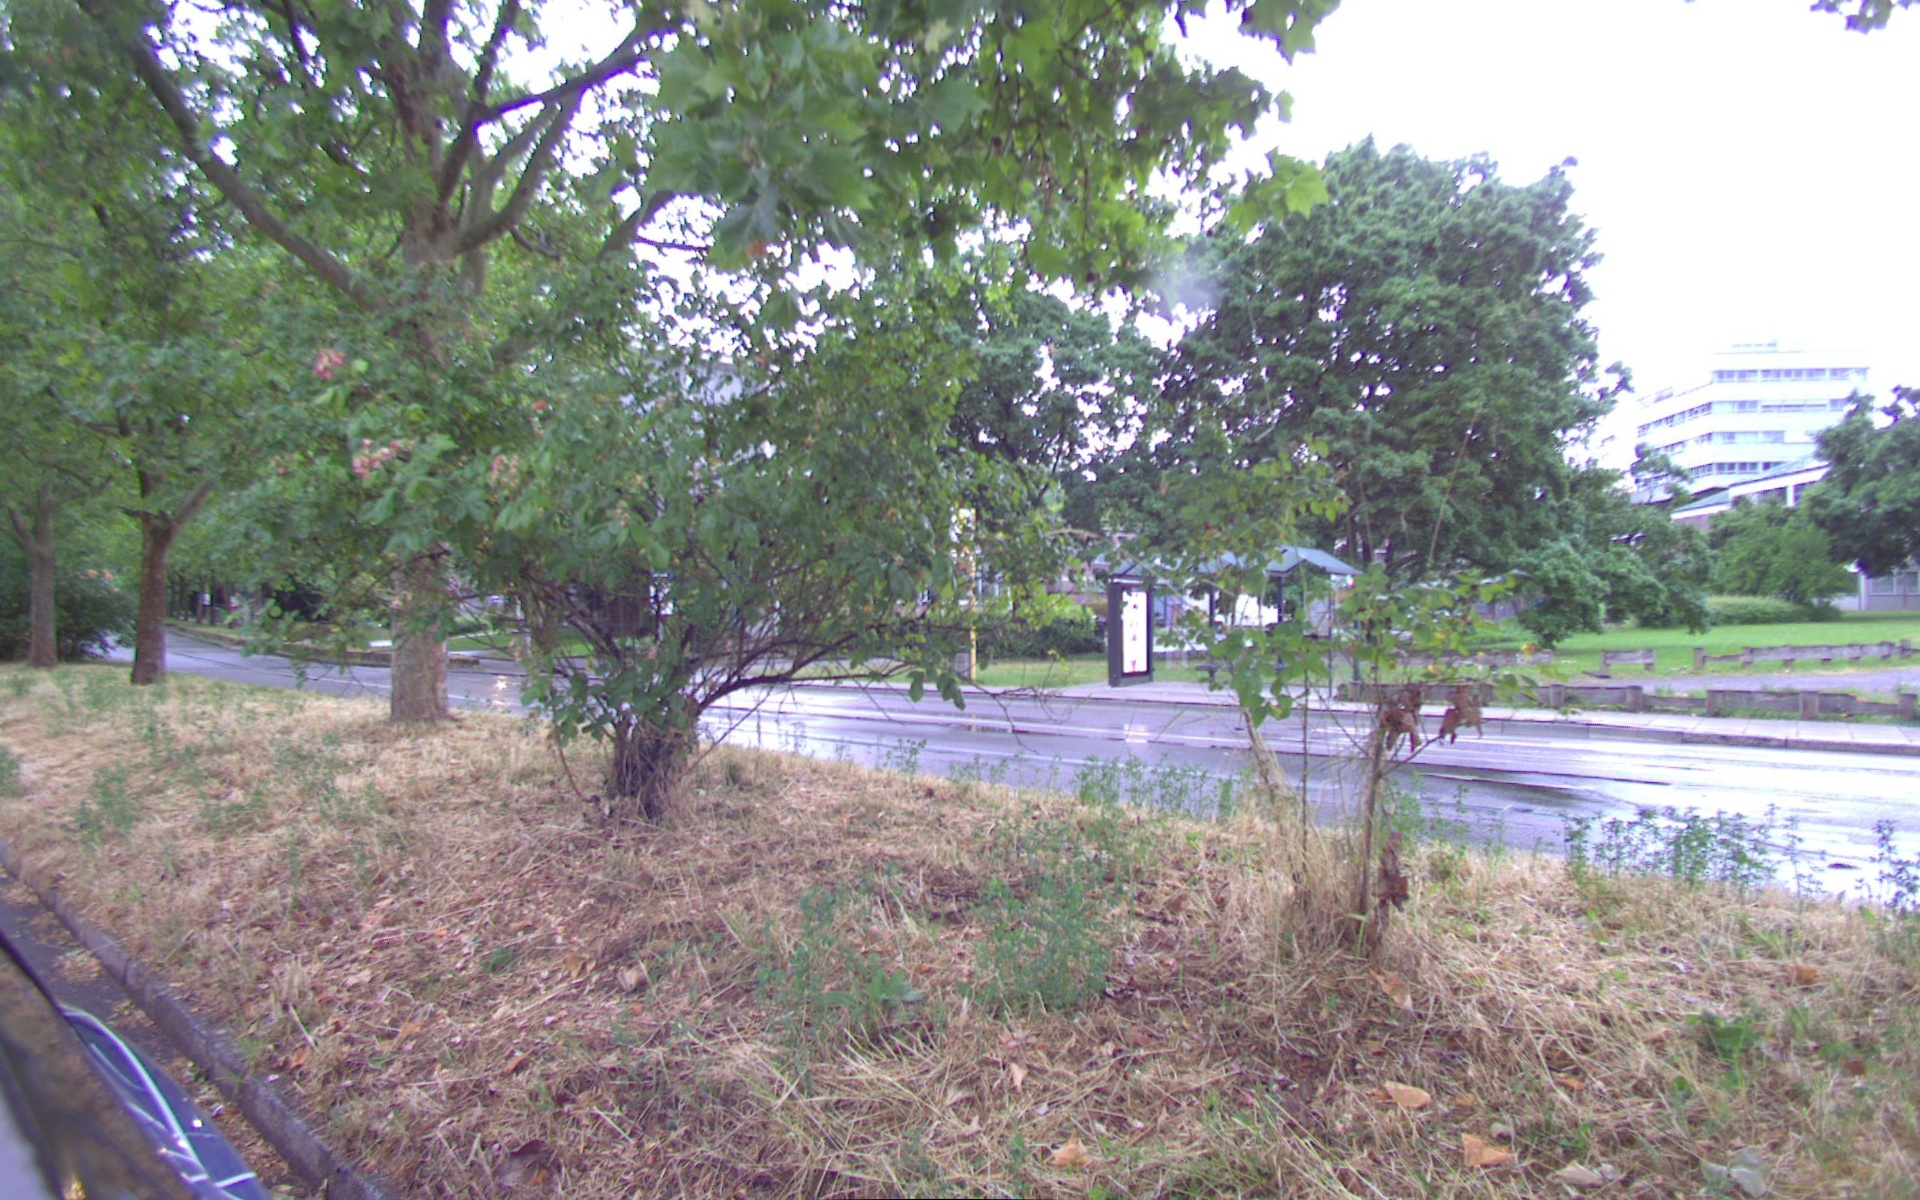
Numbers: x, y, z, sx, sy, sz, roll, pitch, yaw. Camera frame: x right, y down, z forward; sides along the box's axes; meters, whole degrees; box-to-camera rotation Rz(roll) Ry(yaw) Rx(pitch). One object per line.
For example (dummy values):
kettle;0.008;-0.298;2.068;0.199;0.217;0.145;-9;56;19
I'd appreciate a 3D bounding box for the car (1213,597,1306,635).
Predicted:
car;18.557;0.930;62.922;2.080;2.229;5.483;-1;1;-33

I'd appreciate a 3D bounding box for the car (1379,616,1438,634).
car;32.244;1.795;72.759;1.566;1.151;3.564;-1;1;-37

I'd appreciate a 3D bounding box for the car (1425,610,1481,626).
car;37.718;1.373;77.475;1.566;1.151;3.564;-1;1;-37
